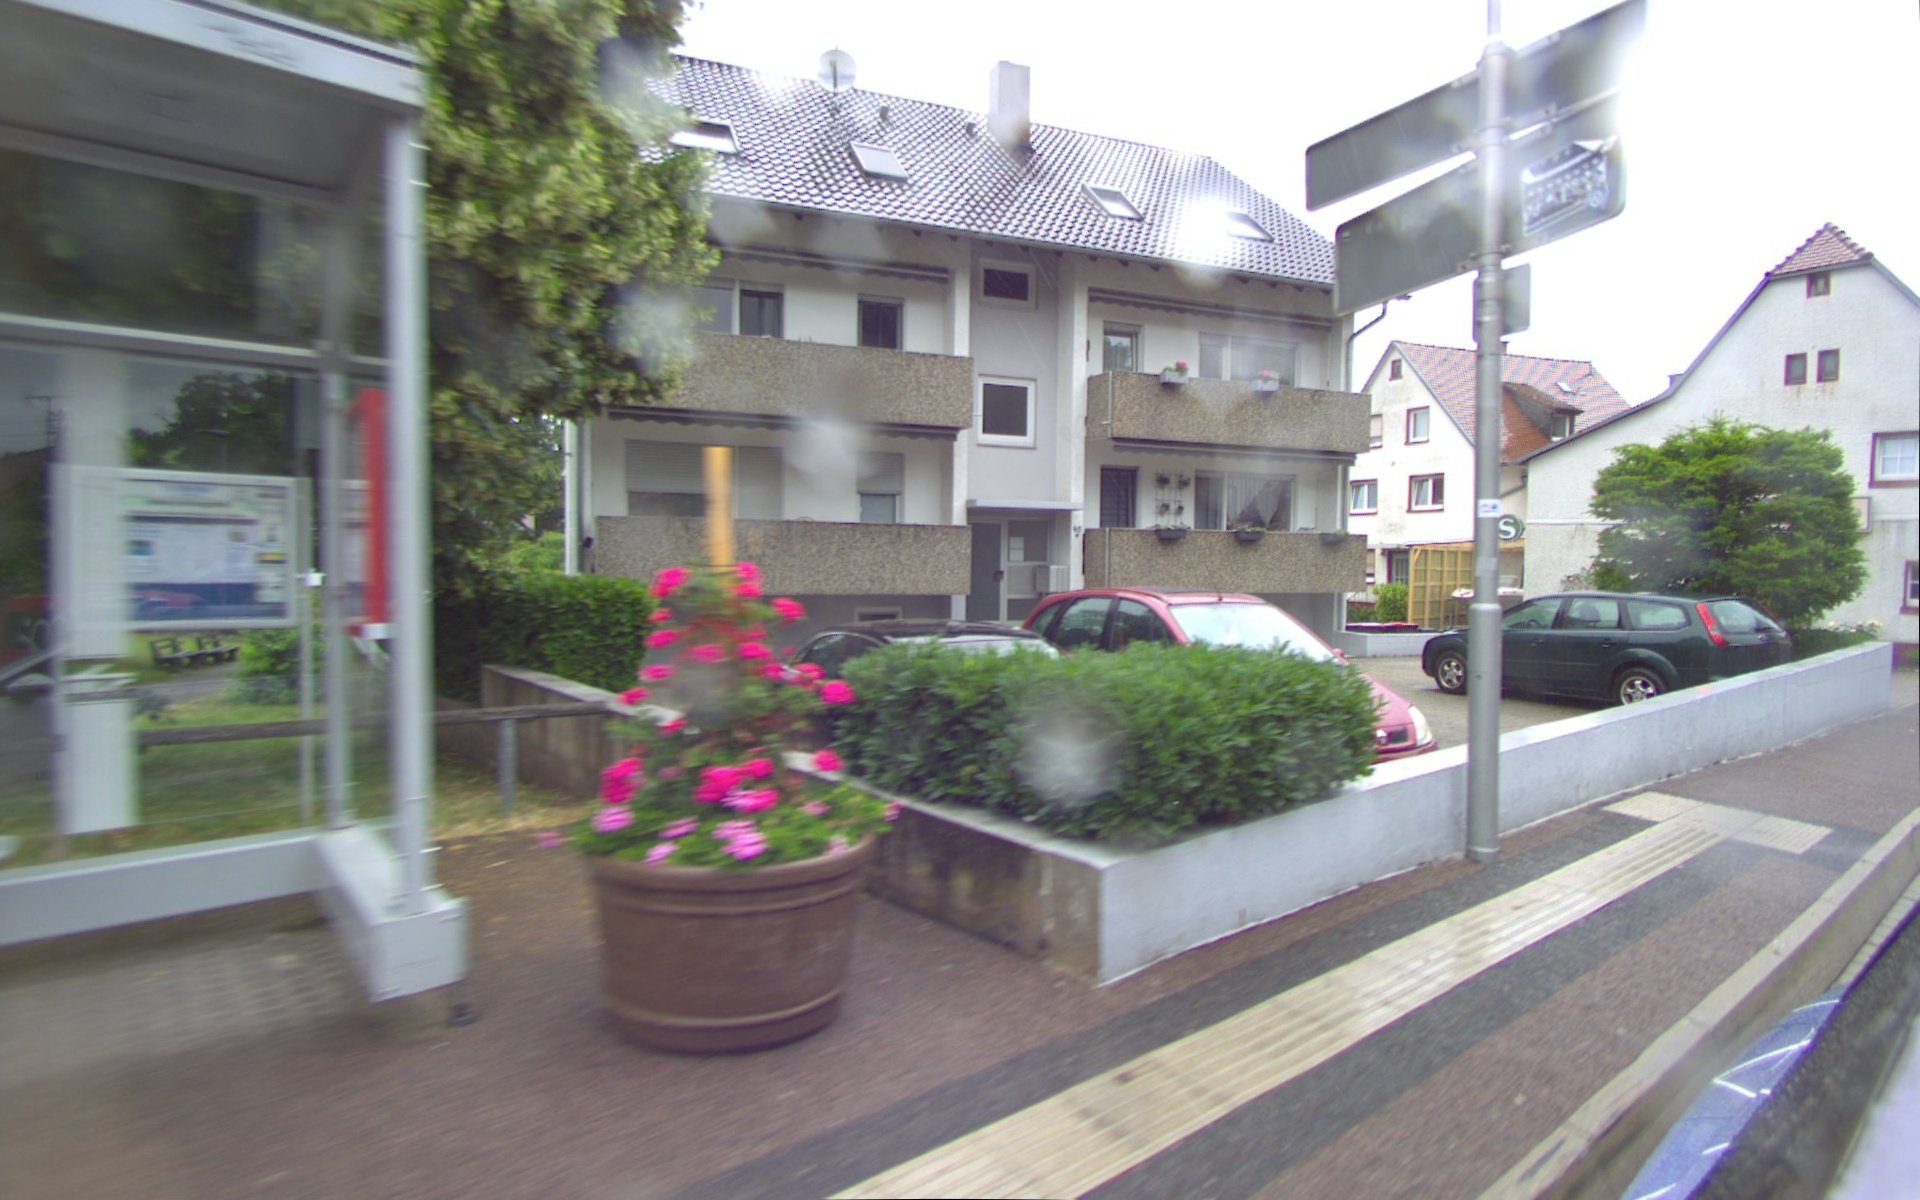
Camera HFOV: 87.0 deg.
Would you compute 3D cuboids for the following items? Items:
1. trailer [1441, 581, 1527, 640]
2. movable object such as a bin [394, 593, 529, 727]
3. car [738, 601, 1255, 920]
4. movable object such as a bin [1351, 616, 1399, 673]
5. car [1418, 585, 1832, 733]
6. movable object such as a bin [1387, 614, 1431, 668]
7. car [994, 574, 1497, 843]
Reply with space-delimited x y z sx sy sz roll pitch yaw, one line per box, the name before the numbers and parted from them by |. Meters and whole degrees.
trailer | 16.517 0.305 31.892 2.565 1.764 1.571 0 1 -41
movable object such as a bin | -5.624 0.618 11.389 1.134 1.374 1.245 0 1 -38
car | -0.065 0.799 7.136 1.717 1.395 3.969 0 2 -31
movable object such as a bin | 8.623 0.908 21.050 0.676 1.132 0.627 0 0 -17
car | 8.336 0.611 13.185 1.660 1.498 4.251 0 2 -24
movable object such as a bin | 9.351 0.848 21.089 0.558 1.080 0.627 0 0 -13
car | 2.039 0.632 8.523 1.819 1.609 4.090 0 2 -25
